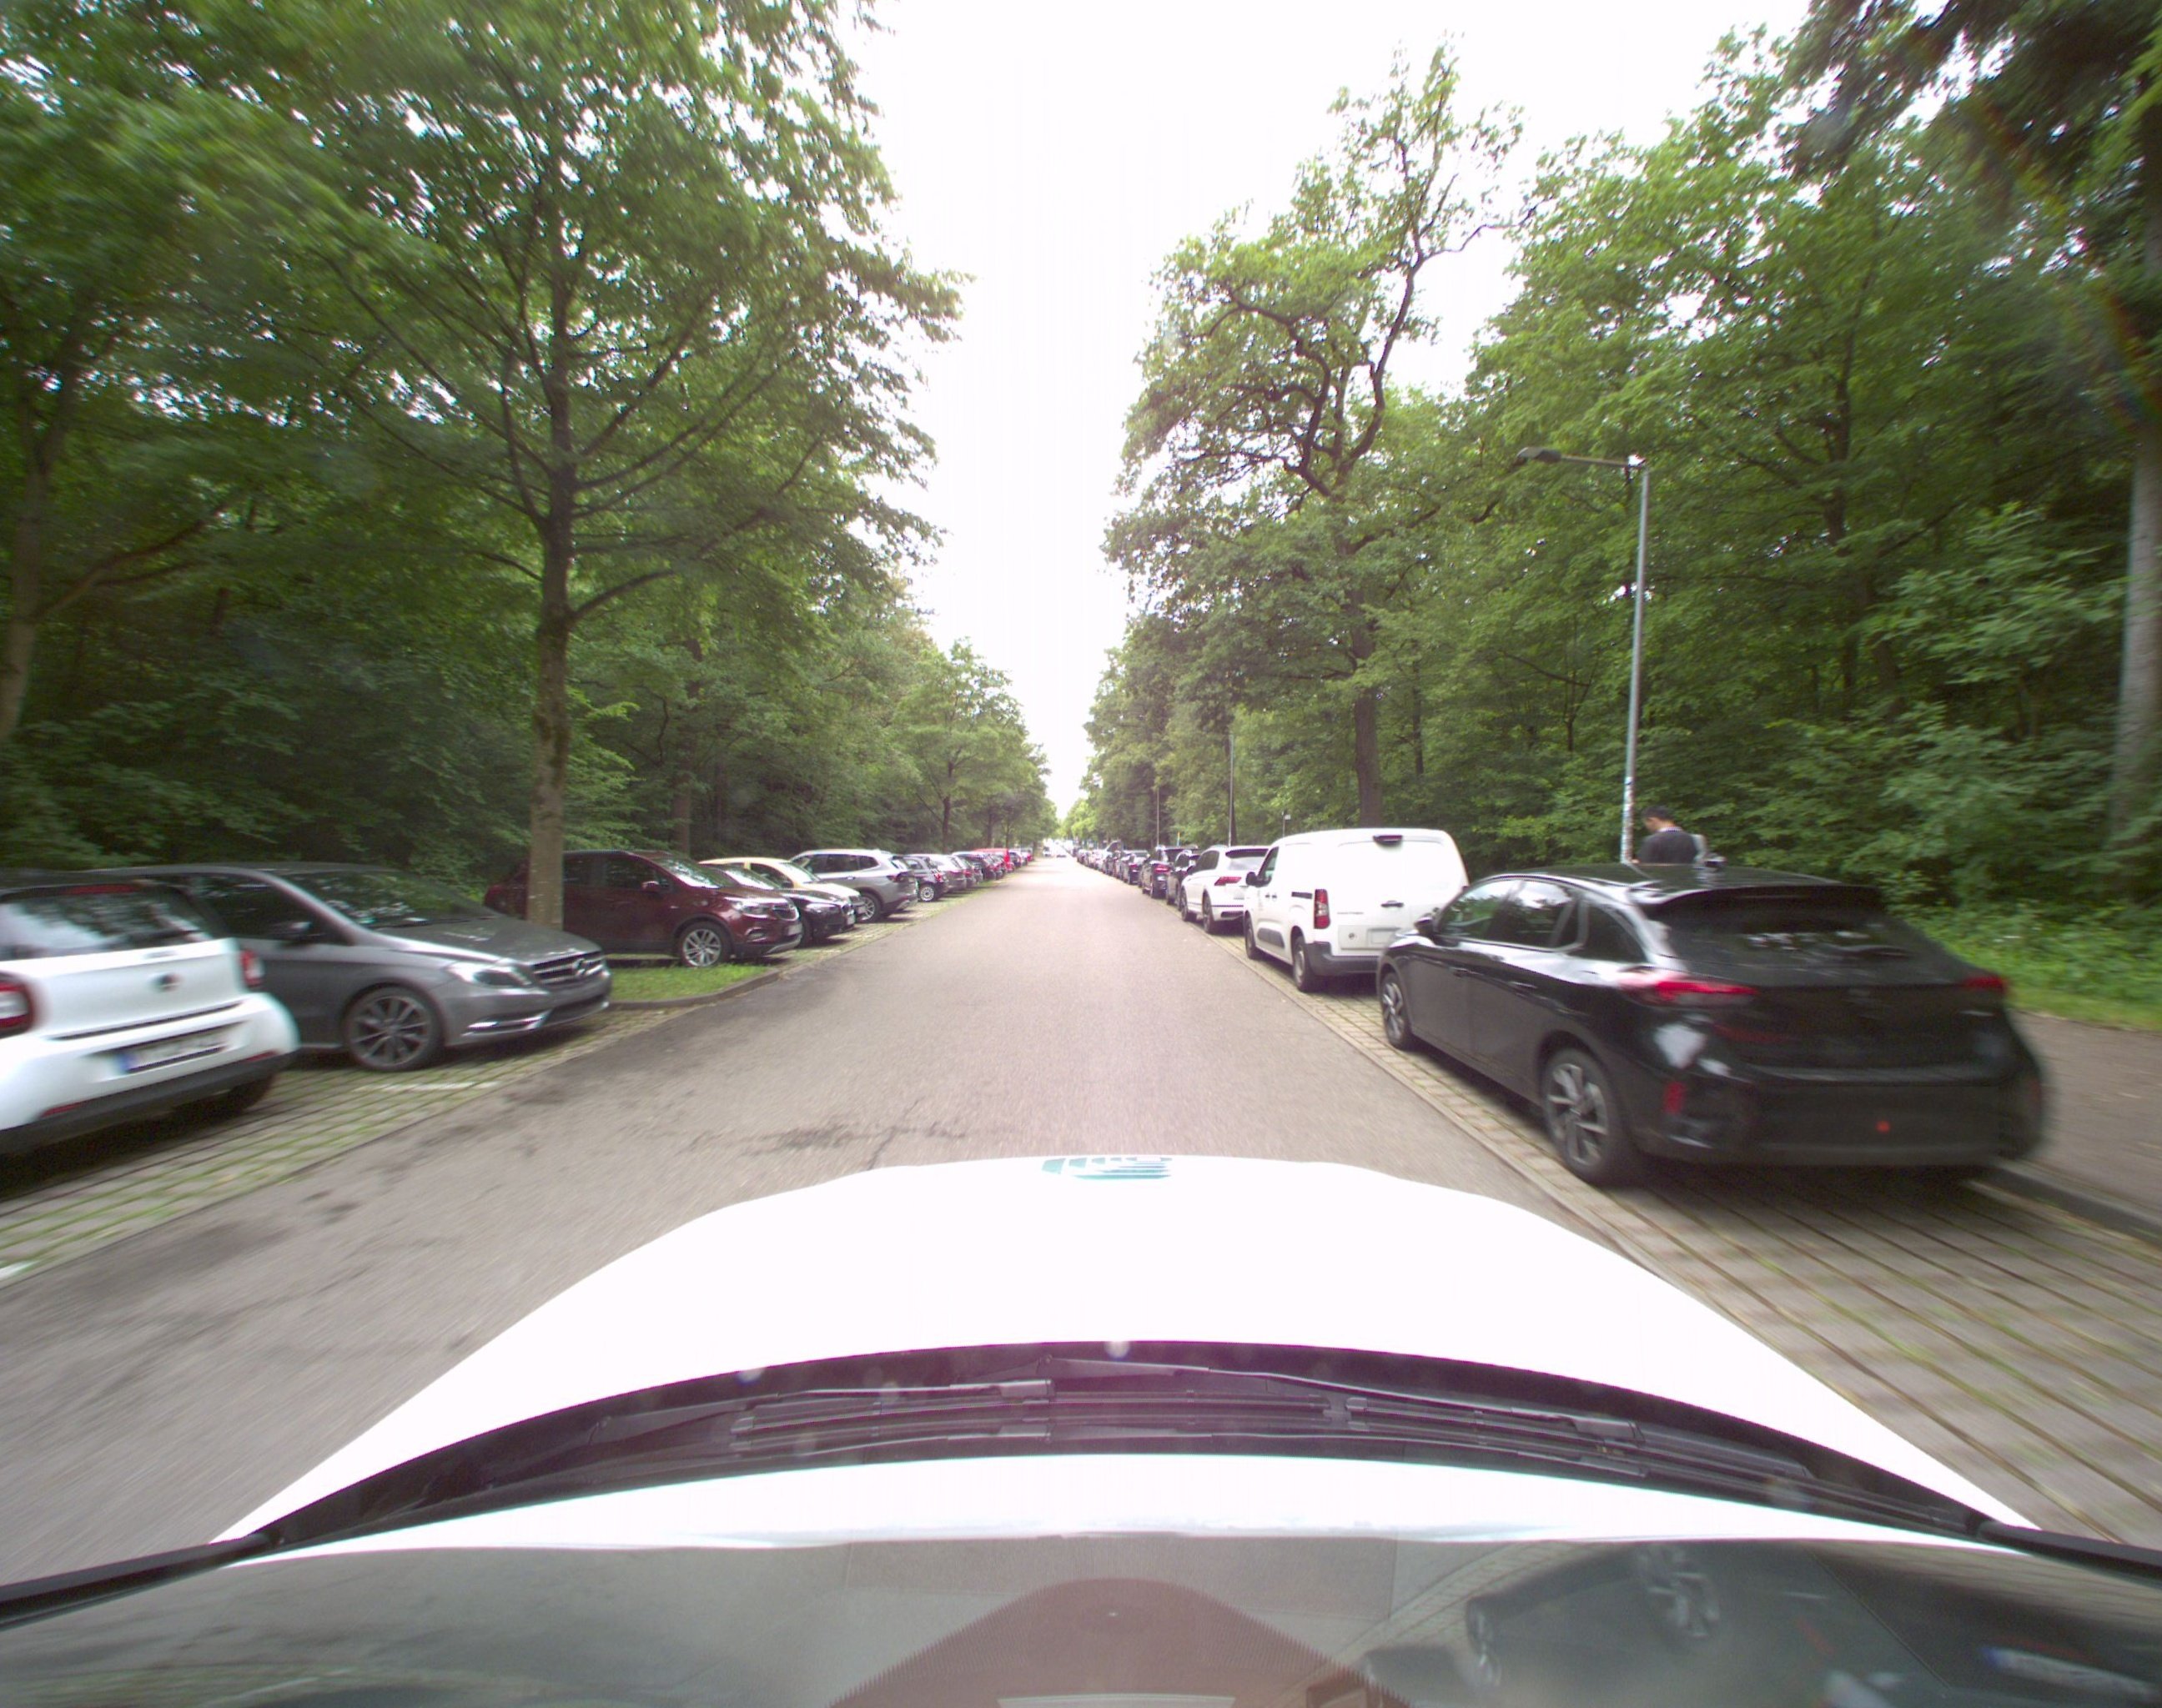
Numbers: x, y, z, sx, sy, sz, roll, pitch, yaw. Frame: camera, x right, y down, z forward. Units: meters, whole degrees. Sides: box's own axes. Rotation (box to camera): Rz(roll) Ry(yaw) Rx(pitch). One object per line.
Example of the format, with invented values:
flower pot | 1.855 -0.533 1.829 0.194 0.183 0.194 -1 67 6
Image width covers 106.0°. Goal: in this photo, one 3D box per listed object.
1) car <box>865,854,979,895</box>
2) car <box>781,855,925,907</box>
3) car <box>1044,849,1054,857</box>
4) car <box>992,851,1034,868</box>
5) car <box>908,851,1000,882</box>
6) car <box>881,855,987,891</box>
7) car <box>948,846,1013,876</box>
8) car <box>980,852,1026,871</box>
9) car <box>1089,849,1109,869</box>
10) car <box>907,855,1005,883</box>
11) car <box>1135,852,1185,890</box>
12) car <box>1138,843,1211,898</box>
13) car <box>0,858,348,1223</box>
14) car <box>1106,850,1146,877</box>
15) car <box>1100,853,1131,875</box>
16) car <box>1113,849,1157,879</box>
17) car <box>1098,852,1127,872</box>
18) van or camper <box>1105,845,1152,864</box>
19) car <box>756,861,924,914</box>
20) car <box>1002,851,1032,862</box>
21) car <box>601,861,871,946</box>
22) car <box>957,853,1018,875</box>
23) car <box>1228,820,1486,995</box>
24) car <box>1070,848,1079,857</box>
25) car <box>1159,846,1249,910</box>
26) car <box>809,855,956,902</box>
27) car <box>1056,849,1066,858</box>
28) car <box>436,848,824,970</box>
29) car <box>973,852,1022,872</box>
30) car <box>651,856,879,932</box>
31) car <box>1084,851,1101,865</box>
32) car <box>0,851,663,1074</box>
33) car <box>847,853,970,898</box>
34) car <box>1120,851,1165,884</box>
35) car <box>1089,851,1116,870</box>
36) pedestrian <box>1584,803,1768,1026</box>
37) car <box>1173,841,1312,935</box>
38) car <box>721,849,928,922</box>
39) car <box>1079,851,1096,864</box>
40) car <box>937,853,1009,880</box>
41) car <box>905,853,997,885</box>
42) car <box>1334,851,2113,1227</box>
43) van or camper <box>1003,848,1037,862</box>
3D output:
car | -6.126 0.774 31.805 4.099 1.480 1.995 -1 0 -3
car | -6.738 0.775 24.348 3.856 1.451 1.659 0 1 -3
car | -5.747 -0.139 145.653 1.733 1.161 3.411 1 3 0
car | -6.787 0.546 81.388 3.975 1.640 2.008 -1 0 -1
car | -6.871 0.658 44.401 4.720 1.595 1.957 -1 0 -3
car | -6.153 0.778 34.395 4.096 1.431 1.964 -1 0 0
car | -6.355 0.444 51.870 3.980 1.816 2.112 -1 0 -5
car | -7.064 0.679 74.115 3.975 1.640 1.734 -1 0 -1
car | 1.608 0.420 73.947 1.706 1.728 3.998 0 0 -1
car | -6.334 0.741 41.715 4.720 1.343 1.985 -1 0 -3
car | 3.229 0.661 33.943 1.594 1.504 4.088 0 0 -1
car | 3.138 0.503 28.360 1.884 1.747 4.945 0 0 -1
car | -6.810 0.824 4.184 4.227 1.550 1.844 0 0 -5
car | 2.738 0.556 50.459 1.975 1.537 4.159 0 0 -5
car | 2.339 0.632 55.509 1.663 1.444 3.808 0 0 -5
car | 2.905 0.522 44.827 1.973 1.537 4.618 0 0 -2
car | 2.385 0.555 62.287 1.932 1.475 3.988 0 0 -3
van or camper | 7.855 0.049 134.098 7.339 2.888 2.636 0 3 -17
car | -6.330 0.851 21.754 3.970 1.310 1.808 0 1 -3
car | -8.137 0.324 104.089 3.582 1.361 1.819 -1 0 -14
car | -5.933 0.825 14.368 3.976 1.364 1.786 0 0 -2
car | -6.464 0.668 56.714 3.976 1.474 2.114 -1 0 -2
car | 3.224 0.530 10.568 1.739 1.780 4.550 0 0 -1
car | -1.207 -0.326 148.362 1.624 1.415 3.408 1 3 -3
car | 3.288 0.590 22.637 1.746 1.607 4.444 0 0 -1
car | -6.487 0.791 26.959 4.386 1.488 1.837 0 0 0
car | -3.528 -0.161 143.169 1.686 1.415 3.151 1 3 -3
car | -6.303 0.723 11.814 4.501 1.584 1.926 0 0 -1
car | -6.775 0.634 66.639 3.821 1.536 1.870 -1 0 -1
car | -6.442 0.790 16.923 4.008 1.465 1.799 0 0 1
car | 1.169 0.398 86.353 1.706 1.509 3.998 0 0 -1
car | -6.025 0.768 6.806 4.022 1.555 1.919 0 0 -2
car | -6.155 0.764 29.497 4.081 1.523 1.927 -1 0 -4
car | 2.888 0.620 38.974 1.633 1.477 4.146 0 0 -3
car | 1.764 0.533 68.322 1.720 1.494 3.765 0 0 -7
pedestrian | 4.917 0.466 6.805 0.814 1.725 1.004 0 0 1
car | 3.125 0.585 16.752 1.781 1.662 4.714 0 0 -2
car | -5.938 0.693 19.264 4.211 1.633 2.029 0 0 0
car | 0.706 0.392 93.557 1.915 1.520 3.886 0 0 -1
car | -6.169 0.698 46.884 3.982 1.530 1.996 -1 0 -6
car | -6.210 0.718 39.369 4.291 1.449 1.753 -1 0 -7
car | 3.112 0.698 5.243 1.719 1.422 4.285 0 0 1
van or camper | -8.598 0.163 114.887 4.484 1.868 1.909 0 3 -17
